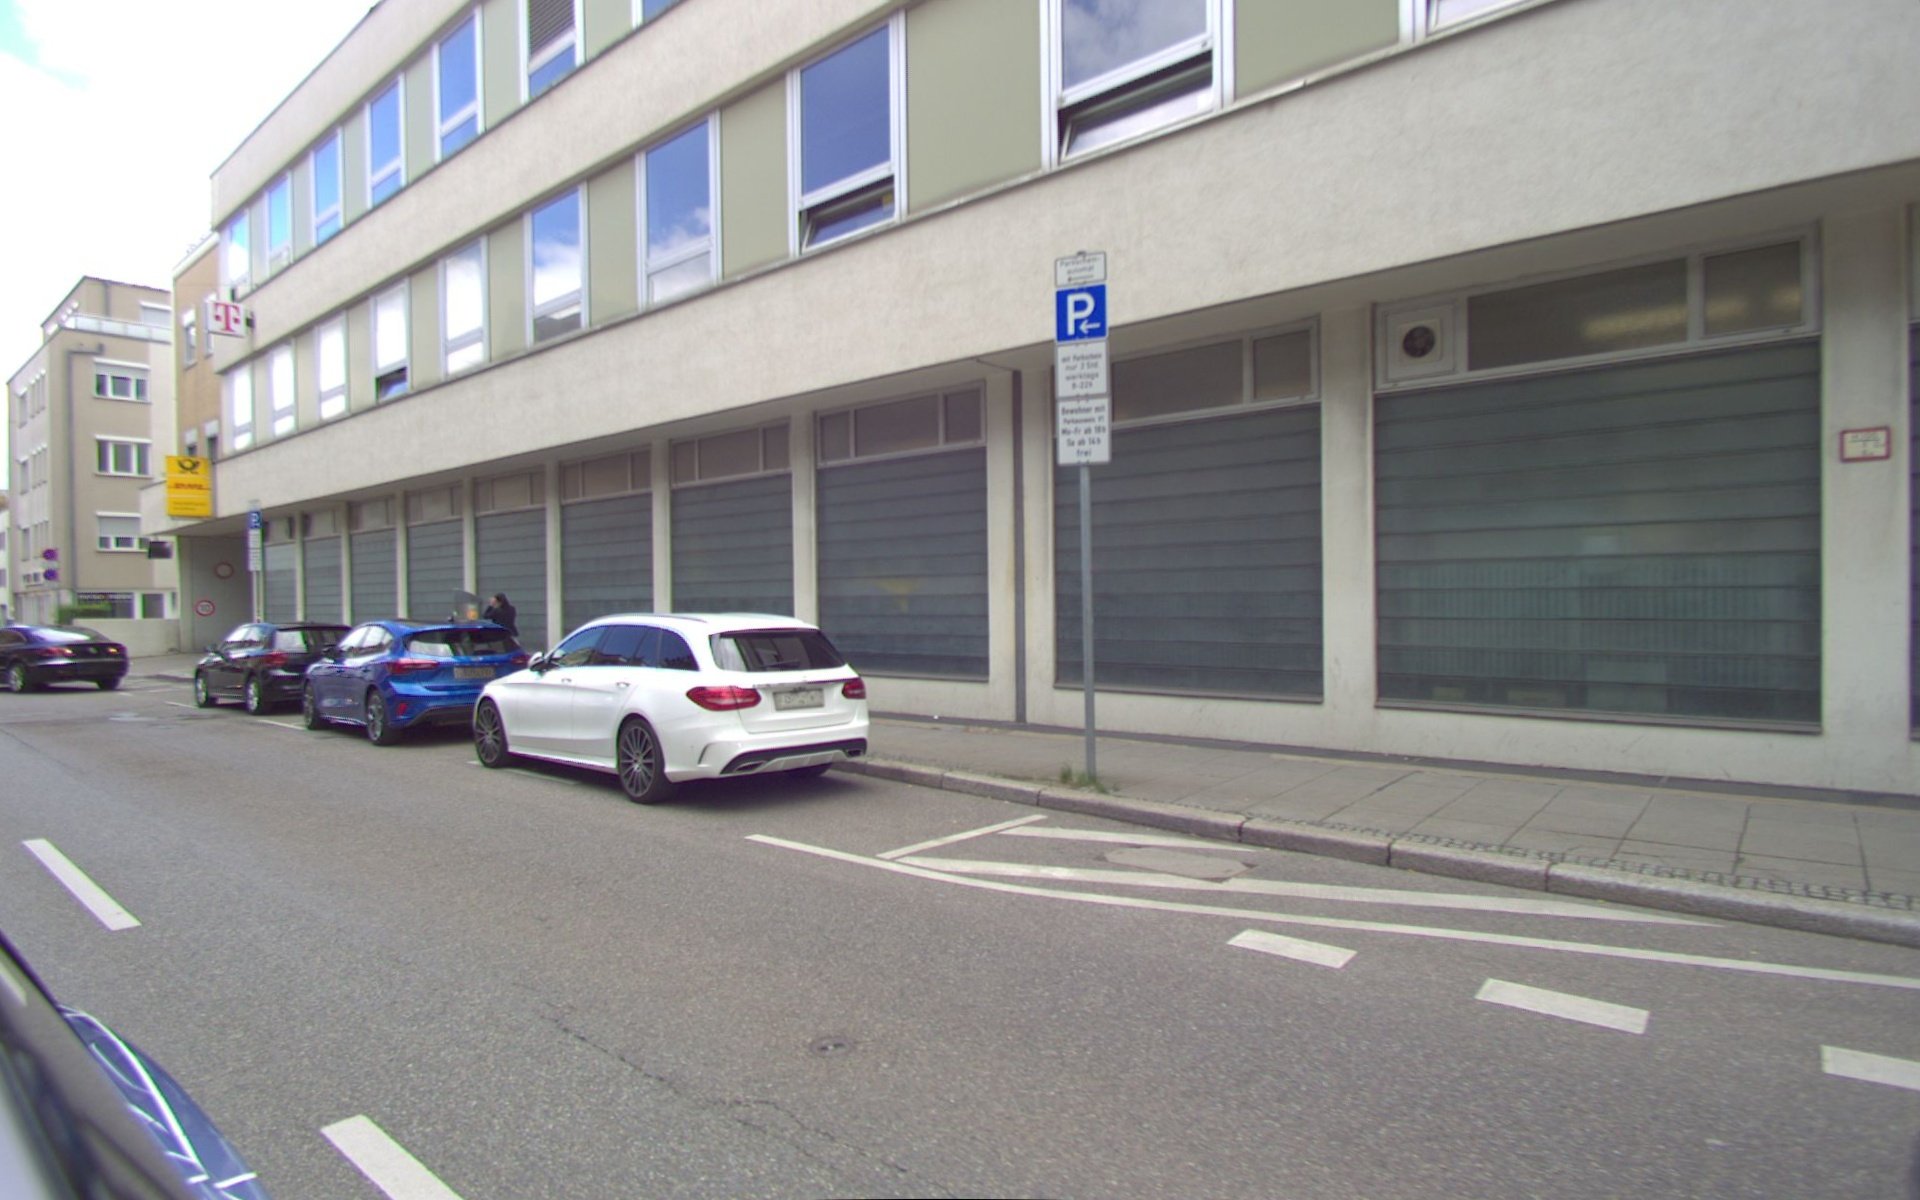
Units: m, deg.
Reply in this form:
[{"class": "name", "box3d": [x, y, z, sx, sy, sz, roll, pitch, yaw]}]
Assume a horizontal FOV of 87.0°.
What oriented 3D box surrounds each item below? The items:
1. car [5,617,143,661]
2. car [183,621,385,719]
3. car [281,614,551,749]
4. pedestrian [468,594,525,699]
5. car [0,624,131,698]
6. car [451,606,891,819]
[{"class": "car", "box3d": [-44.113, 1.892, 50.472, 1.966, 2.013, 5.016, -1, -1, 42]}, {"class": "car", "box3d": [-11.271, 1.081, 16.793, 3.866, 1.436, 1.699, -1, -2, 39]}, {"class": "car", "box3d": [-7.047, 0.928, 12.914, 4.264, 1.436, 1.795, -2, -2, 43]}, {"class": "pedestrian", "box3d": [-7.856, 0.777, 17.153, 0.642, 1.731, 0.589, -1, -1, 10]}, {"class": "car", "box3d": [-20.090, 1.273, 21.795, 4.425, 1.409, 1.644, -1, 0, 24]}, {"class": "car", "box3d": [-2.782, 0.821, 9.046, 4.552, 1.445, 1.652, -2, -2, 43]}]
